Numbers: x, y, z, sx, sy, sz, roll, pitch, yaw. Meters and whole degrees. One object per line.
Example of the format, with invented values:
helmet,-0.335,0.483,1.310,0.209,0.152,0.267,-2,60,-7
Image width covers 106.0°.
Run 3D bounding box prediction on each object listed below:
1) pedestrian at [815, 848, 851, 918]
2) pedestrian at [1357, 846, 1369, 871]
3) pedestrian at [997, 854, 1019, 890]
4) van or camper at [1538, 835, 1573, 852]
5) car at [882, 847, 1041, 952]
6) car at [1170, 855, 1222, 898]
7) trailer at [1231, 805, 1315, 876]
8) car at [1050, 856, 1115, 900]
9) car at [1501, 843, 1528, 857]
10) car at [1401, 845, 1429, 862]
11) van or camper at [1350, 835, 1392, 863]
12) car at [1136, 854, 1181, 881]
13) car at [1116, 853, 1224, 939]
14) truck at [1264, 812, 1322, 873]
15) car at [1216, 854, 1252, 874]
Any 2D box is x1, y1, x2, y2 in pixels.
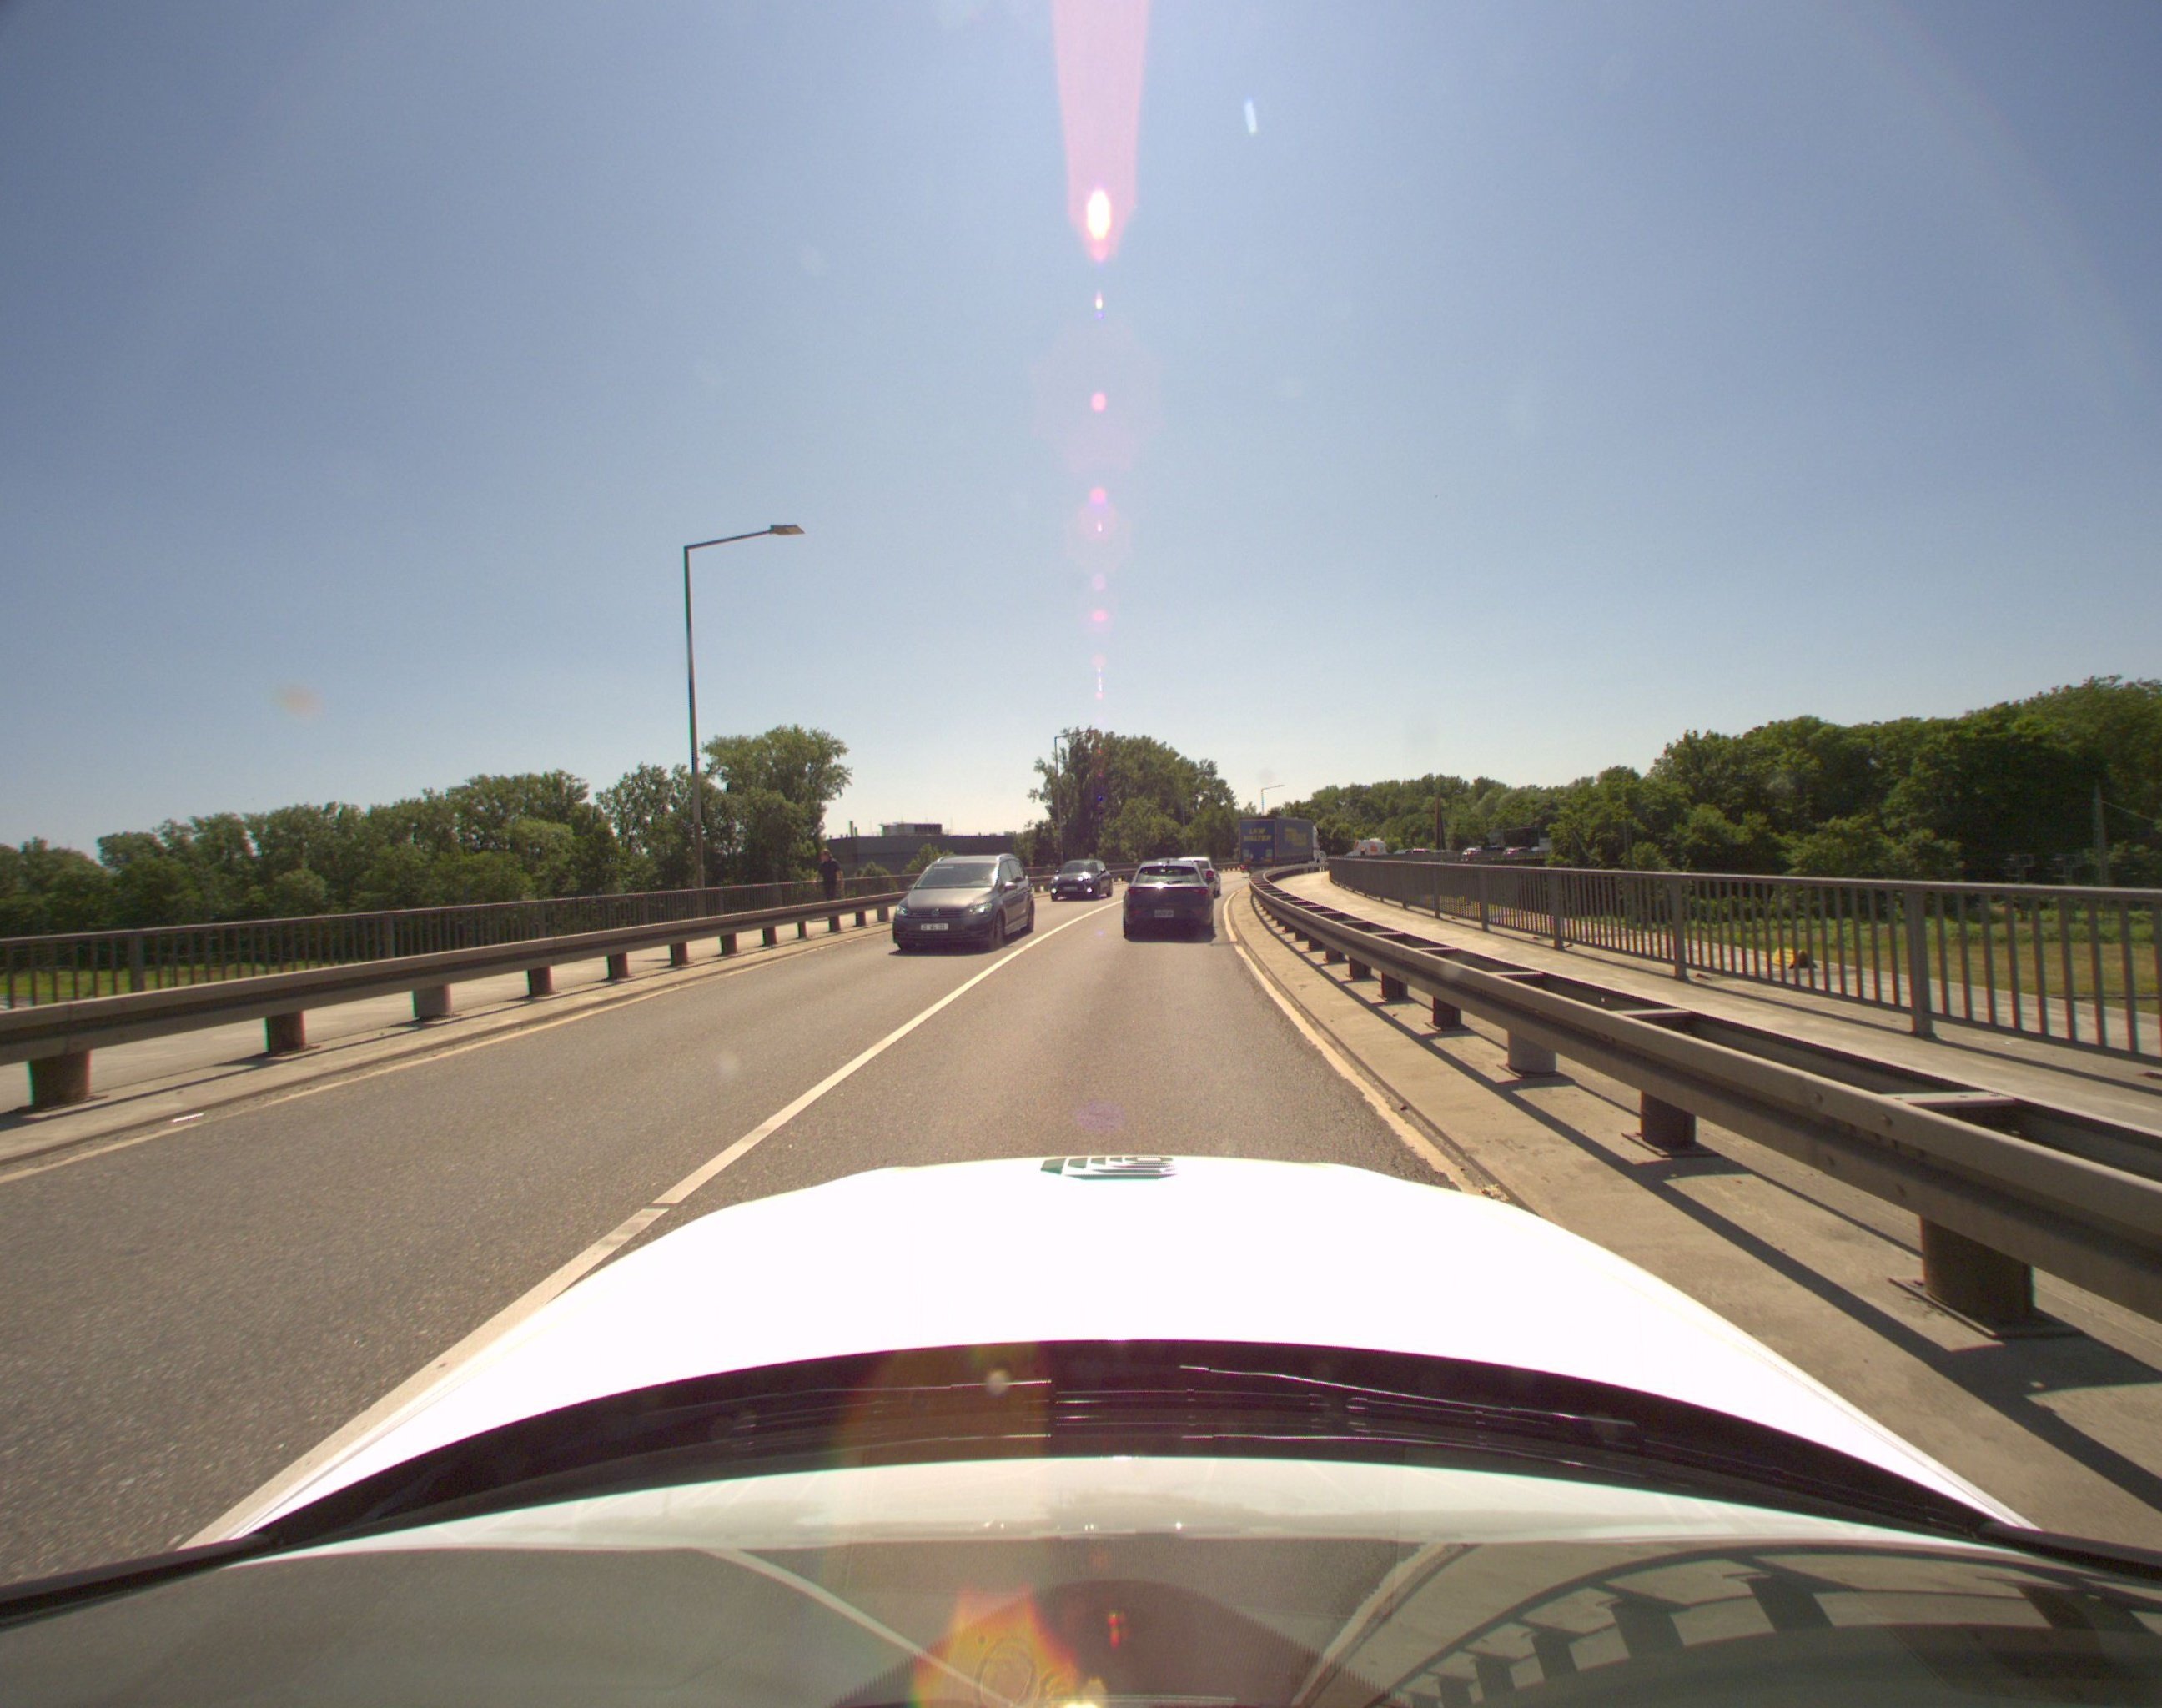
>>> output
pedestrian,-6.506,0.756,21.407,0.635,1.782,0.813,-1,-1,6
pedestrian,22.660,0.392,65.425,0.730,1.967,0.739,-1,-1,27
pedestrian,-3.237,0.797,36.053,0.709,1.561,0.697,-3,-1,14
van or camper,74.376,-1.695,127.672,4.975,2.291,2.469,3,2,-31
car,-2.055,0.777,15.343,1.886,1.654,4.265,-2,-1,6
car,4.258,0.789,29.923,1.582,1.461,3.557,0,0,13
trailer,14.335,-0.846,59.694,3.105,4.614,13.024,-1,0,26
car,0.114,0.851,29.780,1.779,1.419,3.782,-3,-1,8
car,61.135,-0.530,114.883,4.019,1.849,1.874,0,2,-38
car,39.154,-0.063,95.476,1.870,1.850,4.025,-1,-1,40
van or camper,30.168,-0.547,84.650,2.182,2.711,5.963,-1,0,38
car,4.565,0.783,47.532,1.776,1.415,4.594,-3,-1,15
car,1.696,0.760,16.647,1.839,1.499,3.758,-1,0,1
truck,17.189,-0.822,65.603,3.141,4.585,7.439,-1,-1,25
car,12.604,0.787,67.015,1.708,1.483,3.890,-3,-1,30
